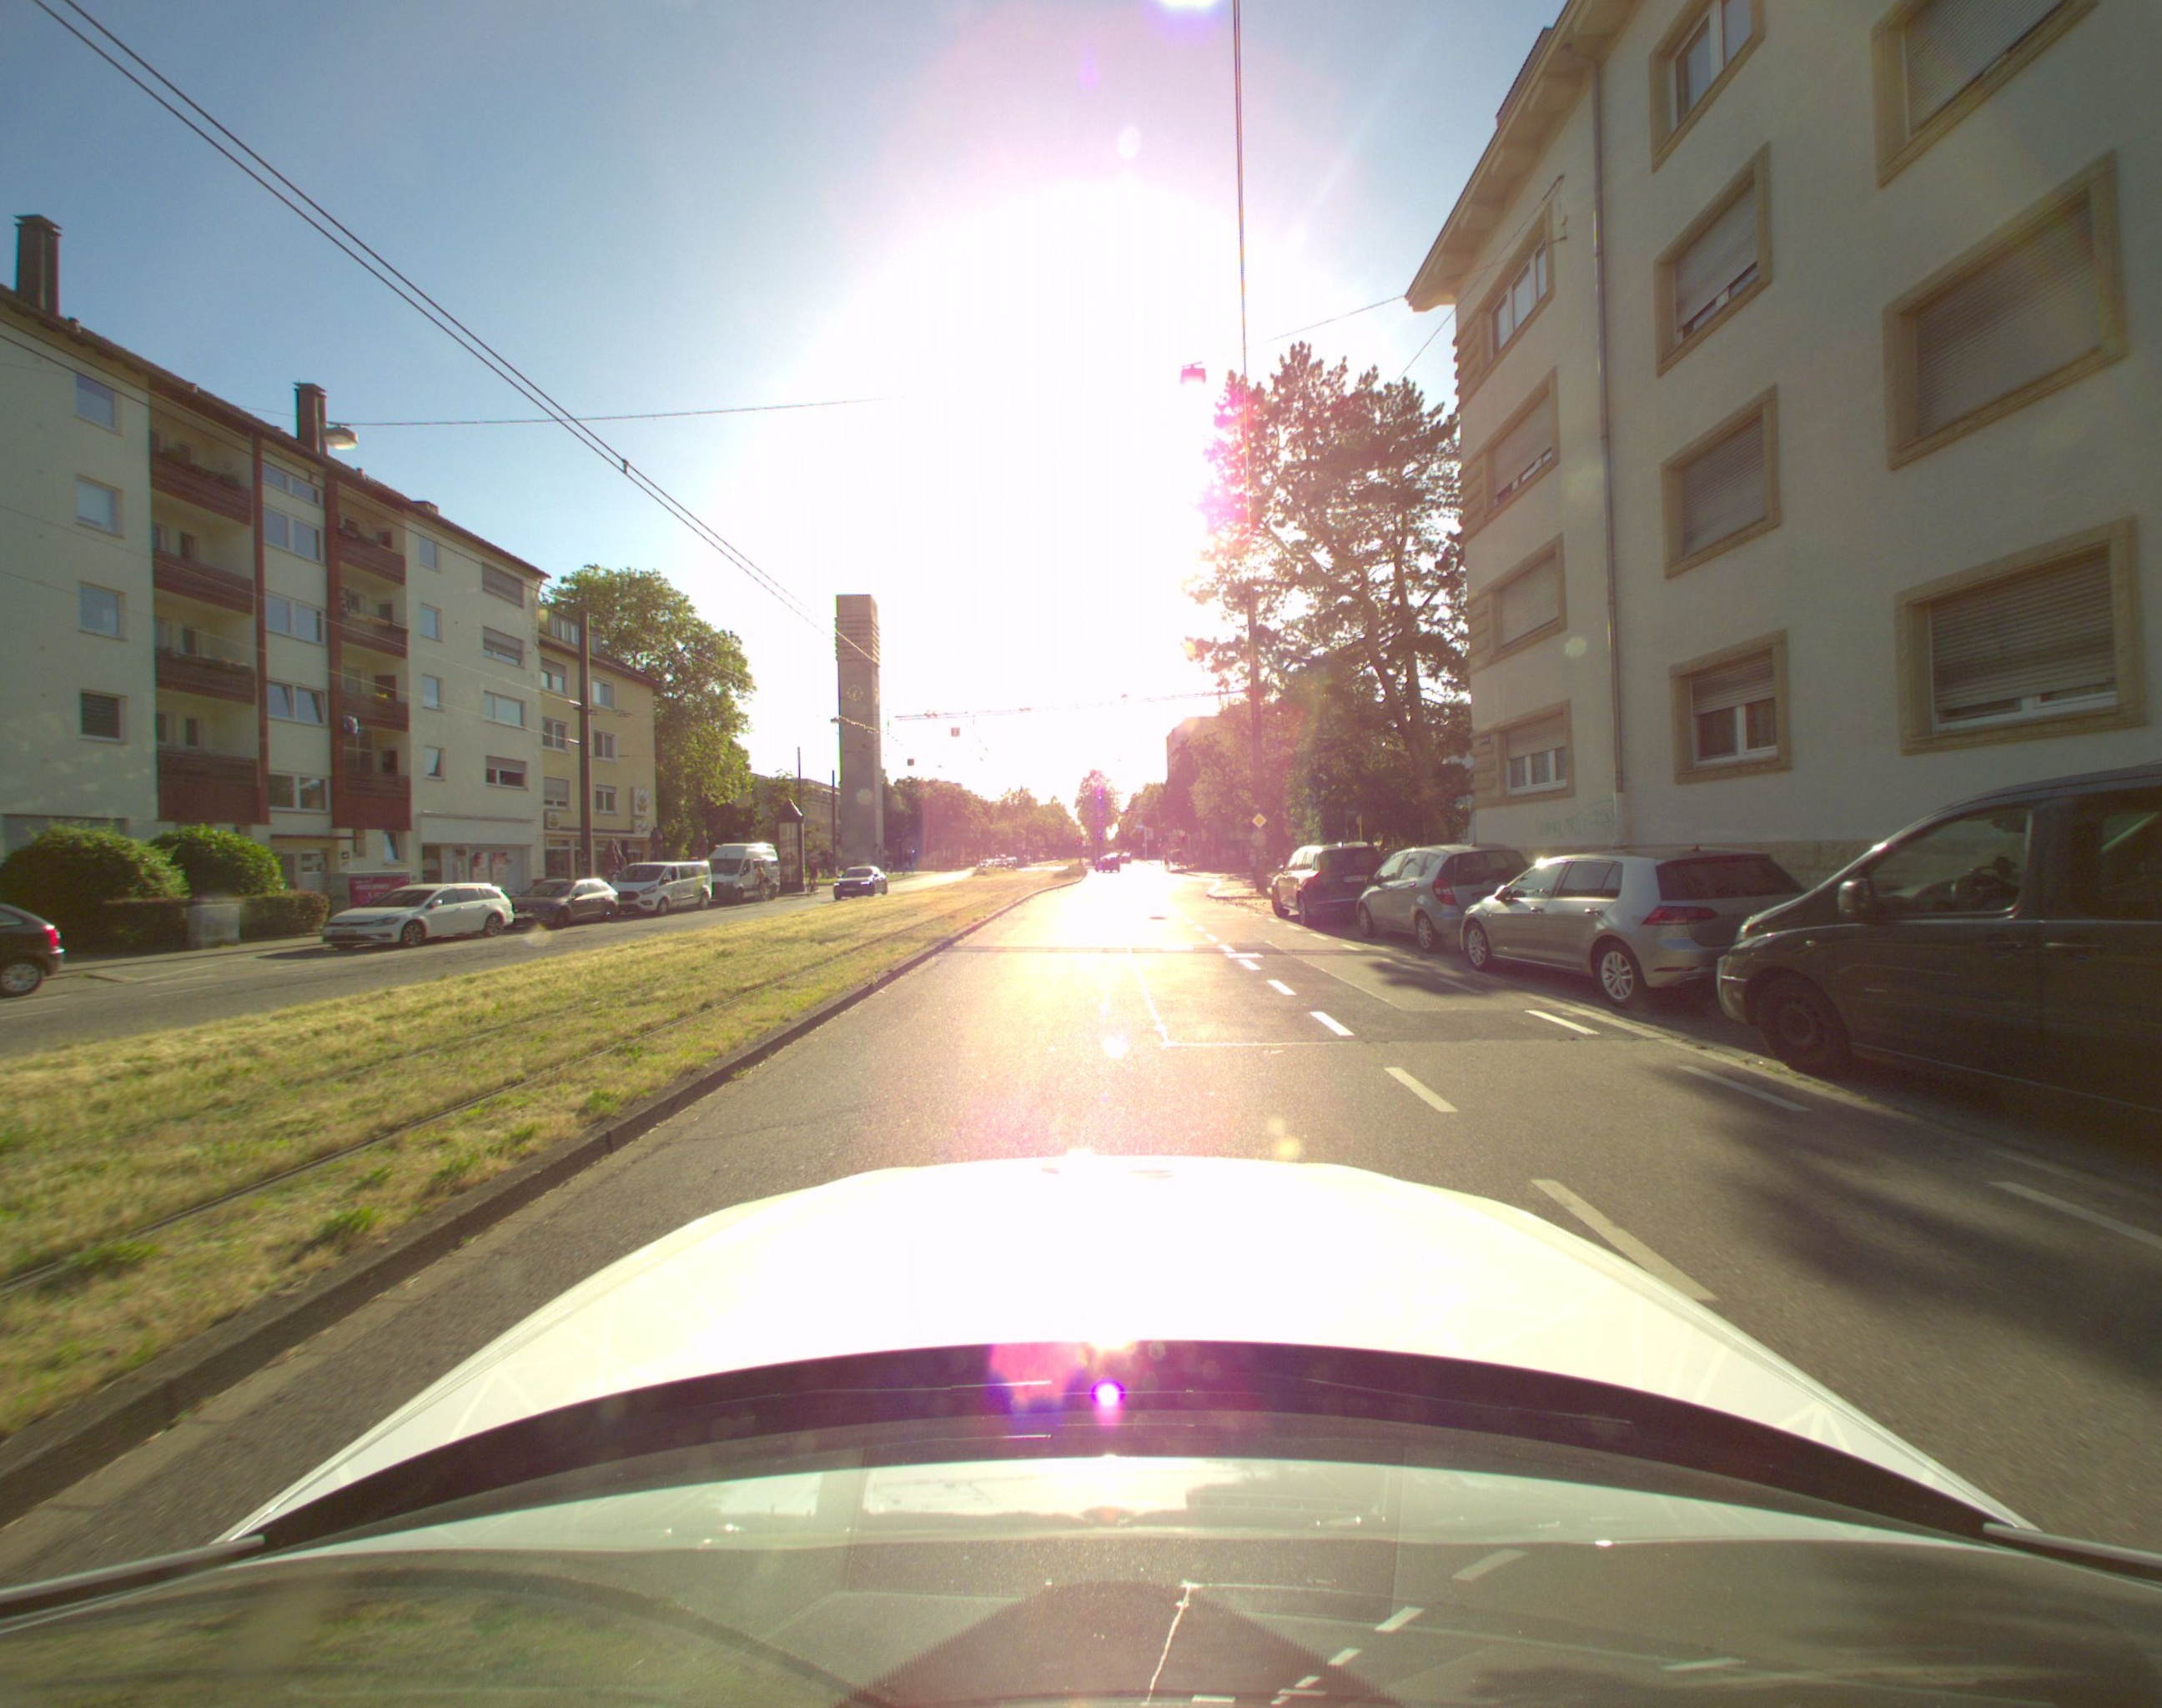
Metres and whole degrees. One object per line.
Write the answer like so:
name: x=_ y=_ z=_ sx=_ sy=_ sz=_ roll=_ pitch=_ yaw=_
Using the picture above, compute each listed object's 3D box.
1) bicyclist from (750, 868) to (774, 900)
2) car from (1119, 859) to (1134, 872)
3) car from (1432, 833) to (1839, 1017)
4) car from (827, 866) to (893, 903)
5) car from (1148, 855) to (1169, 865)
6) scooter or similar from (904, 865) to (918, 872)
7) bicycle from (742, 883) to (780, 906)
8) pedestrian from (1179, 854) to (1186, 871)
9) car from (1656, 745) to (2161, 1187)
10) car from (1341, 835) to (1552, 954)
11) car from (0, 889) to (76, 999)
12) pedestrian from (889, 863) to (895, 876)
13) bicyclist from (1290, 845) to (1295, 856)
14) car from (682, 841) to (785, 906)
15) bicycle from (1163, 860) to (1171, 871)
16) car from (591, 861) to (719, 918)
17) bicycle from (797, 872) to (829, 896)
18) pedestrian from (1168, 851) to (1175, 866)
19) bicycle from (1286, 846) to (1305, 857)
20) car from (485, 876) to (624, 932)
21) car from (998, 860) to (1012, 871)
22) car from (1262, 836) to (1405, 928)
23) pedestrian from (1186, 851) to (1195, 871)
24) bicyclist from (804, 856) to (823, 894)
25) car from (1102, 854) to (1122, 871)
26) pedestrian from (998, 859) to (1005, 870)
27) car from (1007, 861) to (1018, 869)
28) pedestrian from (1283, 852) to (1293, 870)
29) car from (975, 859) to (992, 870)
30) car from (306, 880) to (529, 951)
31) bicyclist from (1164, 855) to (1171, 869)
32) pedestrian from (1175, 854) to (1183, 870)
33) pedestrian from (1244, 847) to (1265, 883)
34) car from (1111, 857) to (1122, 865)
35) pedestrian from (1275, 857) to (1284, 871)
bicyclist: x=-14.158 y=1.322 z=36.132 sx=0.770 sy=1.384 sz=0.648 roll=-2 pitch=-1 yaw=1
car: x=6.776 y=1.676 z=120.541 sx=1.962 sy=1.860 sz=3.999 roll=1 pitch=0 yaw=0
car: x=5.642 y=0.624 z=9.049 sx=1.506 sy=1.478 sz=4.236 roll=-3 pitch=-1 yaw=-1
car: x=-10.058 y=1.352 z=37.386 sx=1.688 sy=1.448 sz=4.219 roll=-3 pitch=0 yaw=2
car: x=15.694 y=1.247 z=165.202 sx=3.960 sy=1.860 sz=2.018 roll=1 pitch=0 yaw=12
scooter or similar: x=-22.282 y=1.930 z=106.773 sx=1.737 sy=0.899 sz=0.560 roll=-2 pitch=-1 yaw=-15
bicycle: x=-14.153 y=1.778 z=36.096 sx=0.765 sy=0.879 sz=2.069 roll=-3 pitch=0 yaw=2
pedestrian: x=9.112 y=0.786 z=73.056 sx=0.526 sy=1.529 sz=0.629 roll=-3 pitch=-1 yaw=7
car: x=5.553 y=0.415 z=3.890 sx=1.906 sy=1.899 sz=5.135 roll=-5 pitch=0 yaw=1
car: x=5.818 y=0.588 z=13.501 sx=1.589 sy=1.578 sz=3.893 roll=-4 pitch=0 yaw=-1
car: x=-17.305 y=1.374 z=11.103 sx=1.986 sy=1.608 sz=4.152 roll=0 pitch=0 yaw=1
pedestrian: x=-24.627 y=2.013 z=105.927 sx=0.440 sy=1.666 sz=0.748 roll=1 pitch=-1 yaw=11
bicyclist: x=29.192 y=-0.450 z=112.348 sx=0.525 sy=1.567 sz=0.464 roll=1 pitch=-1 yaw=-1
car: x=-16.469 y=0.862 z=39.033 sx=2.024 sy=2.869 sz=6.231 roll=0 pitch=0 yaw=2
bicycle: x=8.061 y=1.081 z=76.143 sx=0.645 sy=0.973 sz=1.805 roll=1 pitch=0 yaw=4
car: x=-16.626 y=1.307 z=32.178 sx=2.024 sy=2.021 sz=5.373 roll=1 pitch=0 yaw=2
bicycle: x=-14.245 y=1.593 z=43.391 sx=0.765 sy=1.146 sz=2.475 roll=-4 pitch=0 yaw=2
pedestrian: x=9.474 y=0.448 z=84.916 sx=0.642 sy=1.522 sz=0.498 roll=1 pitch=-1 yaw=13
bicycle: x=29.790 y=-0.356 z=112.897 sx=2.462 sy=1.399 sz=0.608 roll=1 pitch=-1 yaw=0
car: x=-16.691 y=1.530 z=26.114 sx=1.690 sy=1.515 sz=4.324 roll=-1 pitch=0 yaw=-1
car: x=-11.573 y=1.725 z=124.134 sx=1.681 sy=1.533 sz=4.362 roll=-2 pitch=0 yaw=2
car: x=5.688 y=0.581 z=19.032 sx=1.871 sy=1.717 sz=4.936 roll=-5 pitch=0 yaw=2
pedestrian: x=9.807 y=0.630 z=72.874 sx=0.699 sy=1.789 sz=0.695 roll=-4 pitch=0 yaw=7
bicyclist: x=-14.270 y=1.133 z=43.455 sx=0.770 sy=2.014 sz=0.648 roll=1 pitch=-1 yaw=1
car: x=2.851 y=0.771 z=74.913 sx=1.689 sy=1.508 sz=3.697 roll=0 pitch=0 yaw=-1
pedestrian: x=-11.275 y=1.454 z=115.878 sx=0.887 sy=1.606 sz=0.614 roll=1 pitch=-1 yaw=1
car: x=-11.792 y=1.914 z=140.431 sx=1.560 sy=1.402 sz=3.916 roll=1 pitch=0 yaw=2
pedestrian: x=13.573 y=0.461 z=53.390 sx=0.399 sy=1.226 sz=0.765 roll=1 pitch=-1 yaw=28
car: x=-14.797 y=1.590 z=123.542 sx=1.800 sy=1.533 sz=4.362 roll=-2 pitch=0 yaw=1
car: x=-16.781 y=1.488 z=20.995 sx=1.886 sy=1.491 sz=4.701 roll=0 pitch=0 yaw=-1
bicyclist: x=8.056 y=0.743 z=76.081 sx=0.635 sy=1.323 sz=0.804 roll=1 pitch=0 yaw=3
pedestrian: x=10.196 y=0.850 z=84.967 sx=0.724 sy=1.682 sz=0.534 roll=1 pitch=-1 yaw=13
pedestrian: x=8.568 y=0.538 z=40.222 sx=0.876 sy=1.722 sz=0.726 roll=-2 pitch=0 yaw=7
car: x=6.654 y=1.290 z=152.620 sx=1.887 sy=1.611 sz=4.500 roll=1 pitch=0 yaw=0
pedestrian: x=13.051 y=0.647 z=53.483 sx=0.399 sy=0.934 sz=0.627 roll=1 pitch=2 yaw=28
